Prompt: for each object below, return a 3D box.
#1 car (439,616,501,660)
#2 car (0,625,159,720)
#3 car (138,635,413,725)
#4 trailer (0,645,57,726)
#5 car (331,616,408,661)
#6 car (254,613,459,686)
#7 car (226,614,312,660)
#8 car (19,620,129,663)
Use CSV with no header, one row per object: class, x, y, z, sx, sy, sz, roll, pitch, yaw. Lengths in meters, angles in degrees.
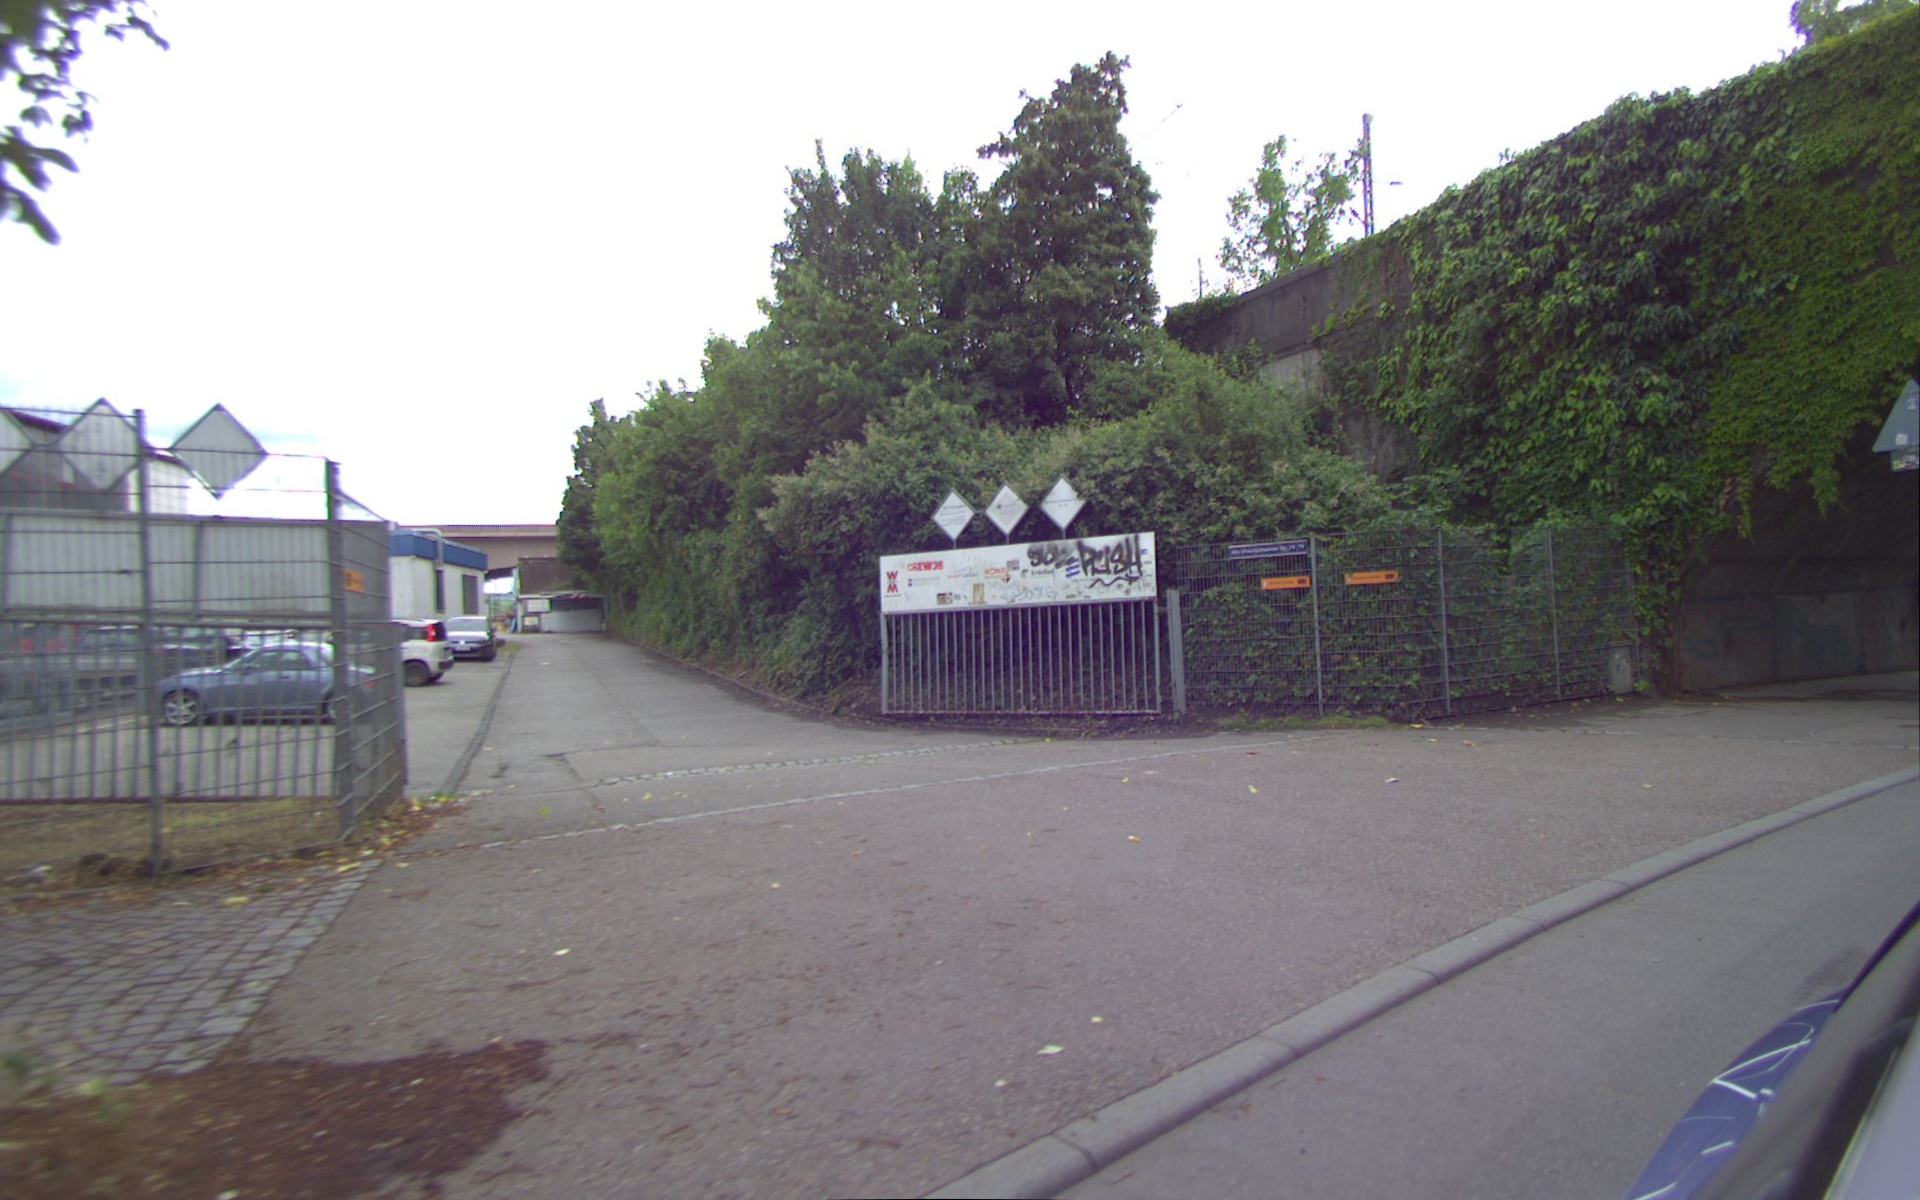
car,-16.036,1.209,33.235,1.498,1.349,3.730,0,-1,-21
car,-15.239,1.176,17.237,1.343,1.458,2.858,0,-1,-11
car,-10.686,1.231,16.037,3.299,1.268,1.474,1,-1,-16
trailer,-14.876,1.286,14.500,1.811,1.152,2.643,-1,-1,-12
car,-18.673,1.185,32.136,1.498,1.349,3.690,0,-1,-21
car,-13.694,1.100,23.162,3.731,1.551,1.568,1,0,-16
car,-21.406,1.115,31.458,1.309,1.349,3.317,0,-1,-18
car,-27.127,1.234,31.093,1.309,1.224,3.317,0,-1,-18
